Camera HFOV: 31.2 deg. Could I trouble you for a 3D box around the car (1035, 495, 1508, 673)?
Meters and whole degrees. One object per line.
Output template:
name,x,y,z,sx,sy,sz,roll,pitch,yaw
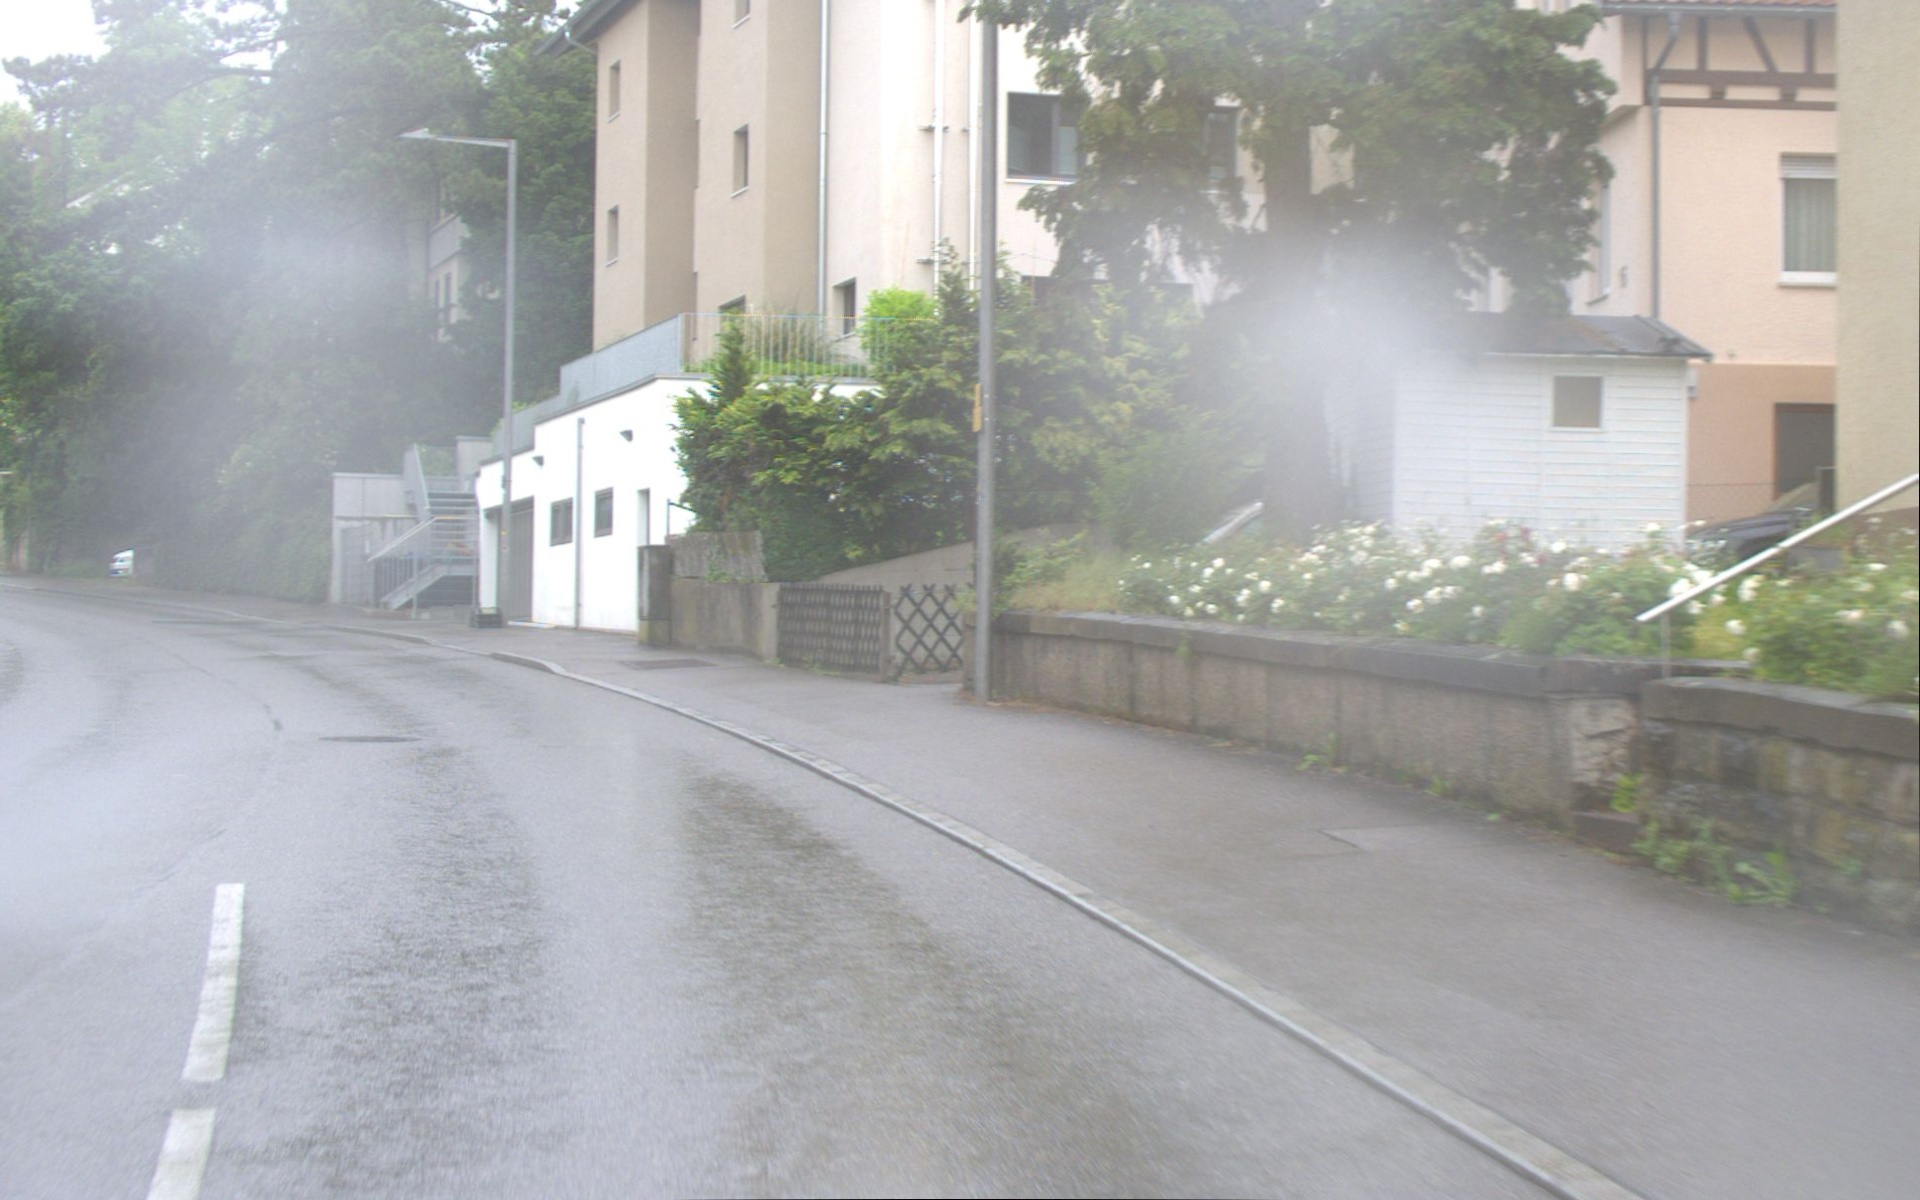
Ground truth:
car,2.966,-0.176,33.344,4.316,1.647,1.964,0,1,-3

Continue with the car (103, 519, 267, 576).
car,-21.689,-1.473,96.242,4.142,1.471,1.905,-2,3,-25

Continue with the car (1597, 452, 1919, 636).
car,8.451,-0.584,33.756,3.852,1.647,1.964,-3,1,-6
